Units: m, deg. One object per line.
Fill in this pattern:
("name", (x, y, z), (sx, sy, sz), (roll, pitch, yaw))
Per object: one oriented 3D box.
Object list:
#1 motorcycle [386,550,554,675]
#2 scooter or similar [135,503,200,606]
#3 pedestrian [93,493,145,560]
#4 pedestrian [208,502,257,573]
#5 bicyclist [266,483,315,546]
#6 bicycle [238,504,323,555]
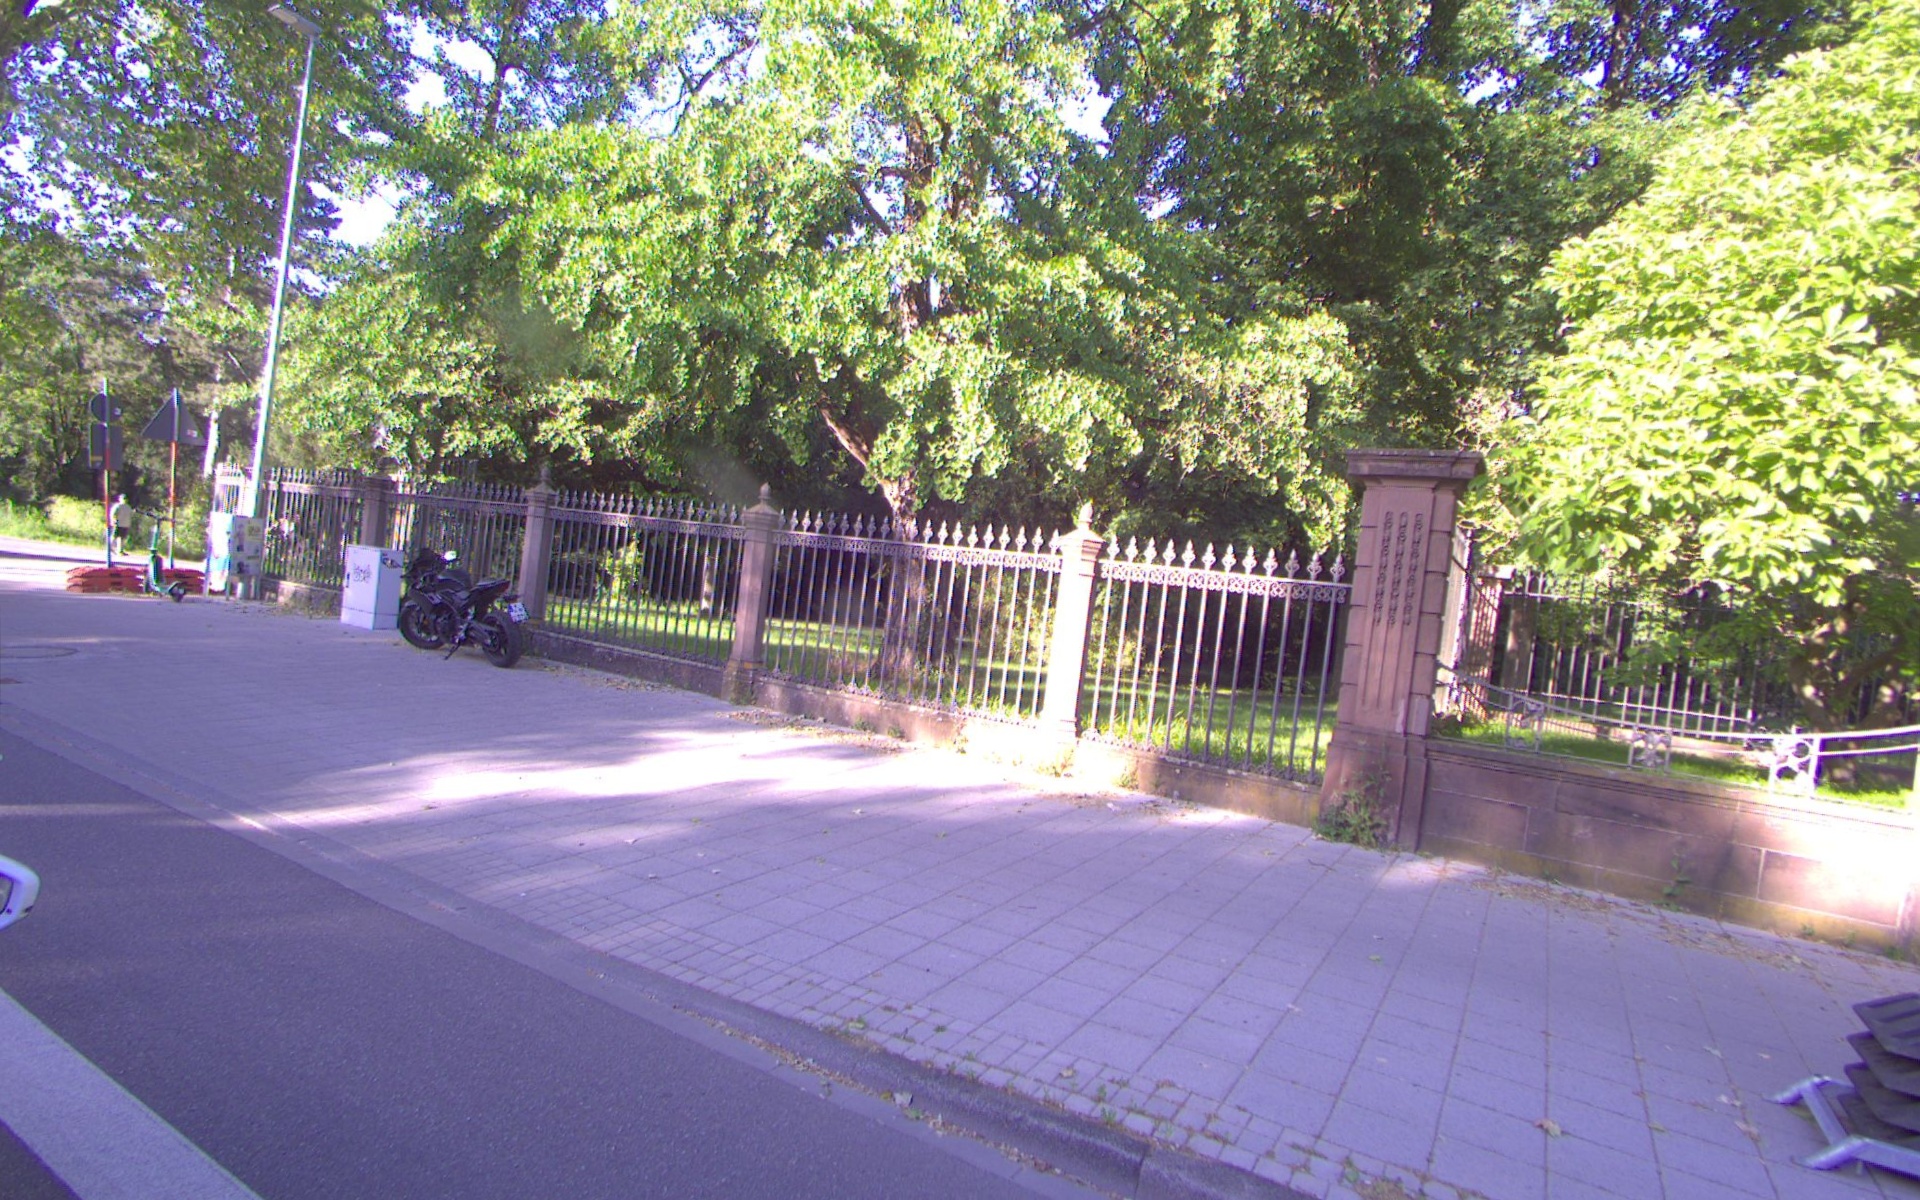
("motorcycle", (-5.451, 0.111, 11.131), (2.134, 1.146, 0.506), (7, 2, 30))
("scooter or similar", (-11.149, -0.651, 14.148), (1.152, 1.344, 0.228), (7, 2, 30))
("pedestrian", (-20.960, -1.835, 25.066), (0.816, 1.536, 0.905), (8, -1, -44))
("pedestrian", (-18.923, -1.616, 26.178), (0.633, 1.719, 0.690), (7, 0, 31))
("bicyclist", (-16.840, -2.137, 25.316), (0.780, 1.448, 0.657), (8, -1, -45))
("bicycle", (-17.006, -1.762, 25.208), (1.613, 1.027, 0.469), (9, -1, -45))
